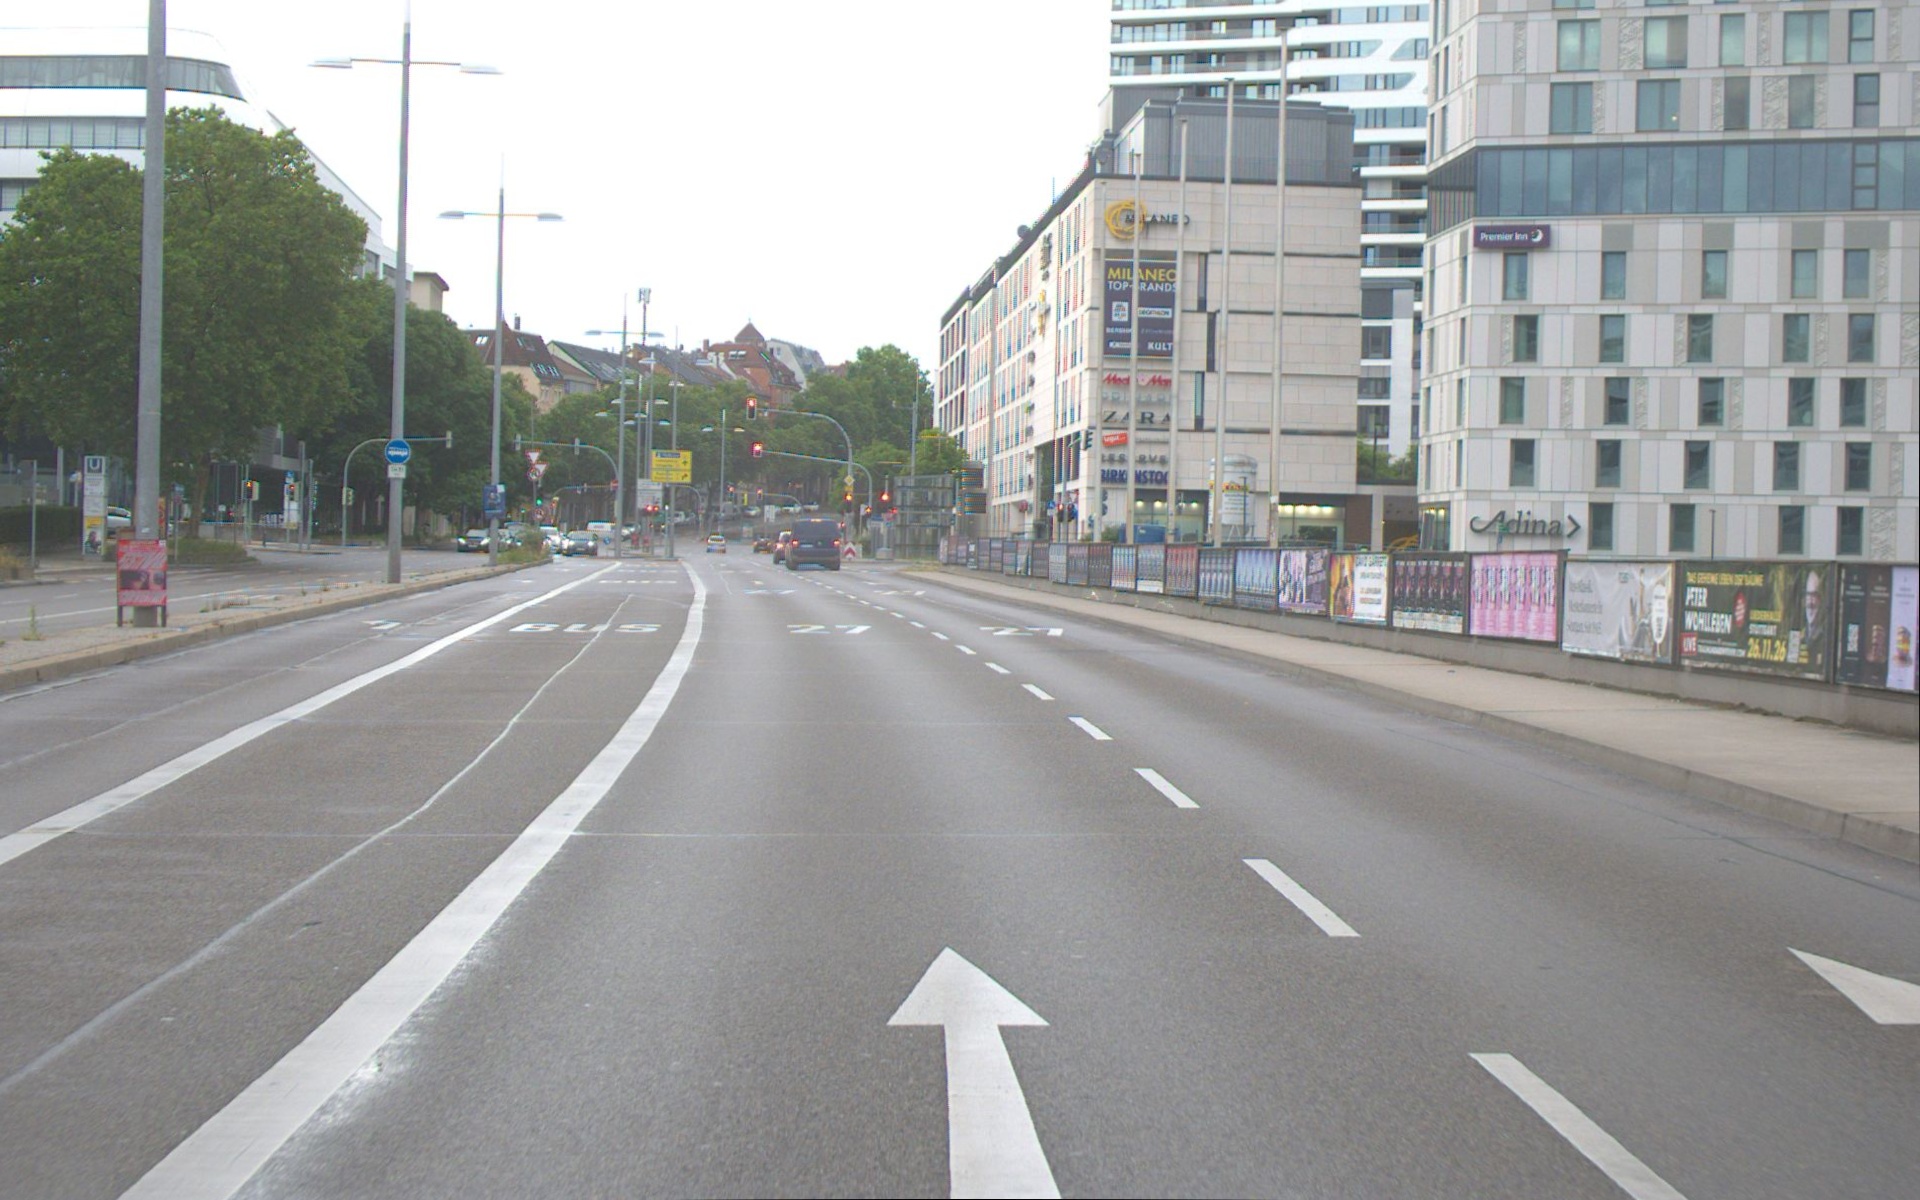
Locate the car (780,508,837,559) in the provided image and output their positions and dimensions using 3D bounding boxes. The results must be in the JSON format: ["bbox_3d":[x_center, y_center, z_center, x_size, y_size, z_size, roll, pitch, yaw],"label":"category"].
[{"bbox_3d":[-5.897,-2.592,133.081,2.032,1.875,5.043,-2,2,-4],"label":"car"}]

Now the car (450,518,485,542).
[{"bbox_3d":[-29.023,-4.121,202.834,1.743,1.324,4.226,1,0,-4],"label":"car"}]

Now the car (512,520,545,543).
[{"bbox_3d":[-25.525,-4.070,203.558,1.743,1.253,3.540,2,1,-4],"label":"car"}]

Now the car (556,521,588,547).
[{"bbox_3d":[-22.894,-3.883,203.109,1.743,1.439,3.395,1,0,-4],"label":"car"}]

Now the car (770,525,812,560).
[{"bbox_3d":[-7.771,-2.640,157.704,1.739,1.526,3.815,1,0,-5],"label":"car"}]
